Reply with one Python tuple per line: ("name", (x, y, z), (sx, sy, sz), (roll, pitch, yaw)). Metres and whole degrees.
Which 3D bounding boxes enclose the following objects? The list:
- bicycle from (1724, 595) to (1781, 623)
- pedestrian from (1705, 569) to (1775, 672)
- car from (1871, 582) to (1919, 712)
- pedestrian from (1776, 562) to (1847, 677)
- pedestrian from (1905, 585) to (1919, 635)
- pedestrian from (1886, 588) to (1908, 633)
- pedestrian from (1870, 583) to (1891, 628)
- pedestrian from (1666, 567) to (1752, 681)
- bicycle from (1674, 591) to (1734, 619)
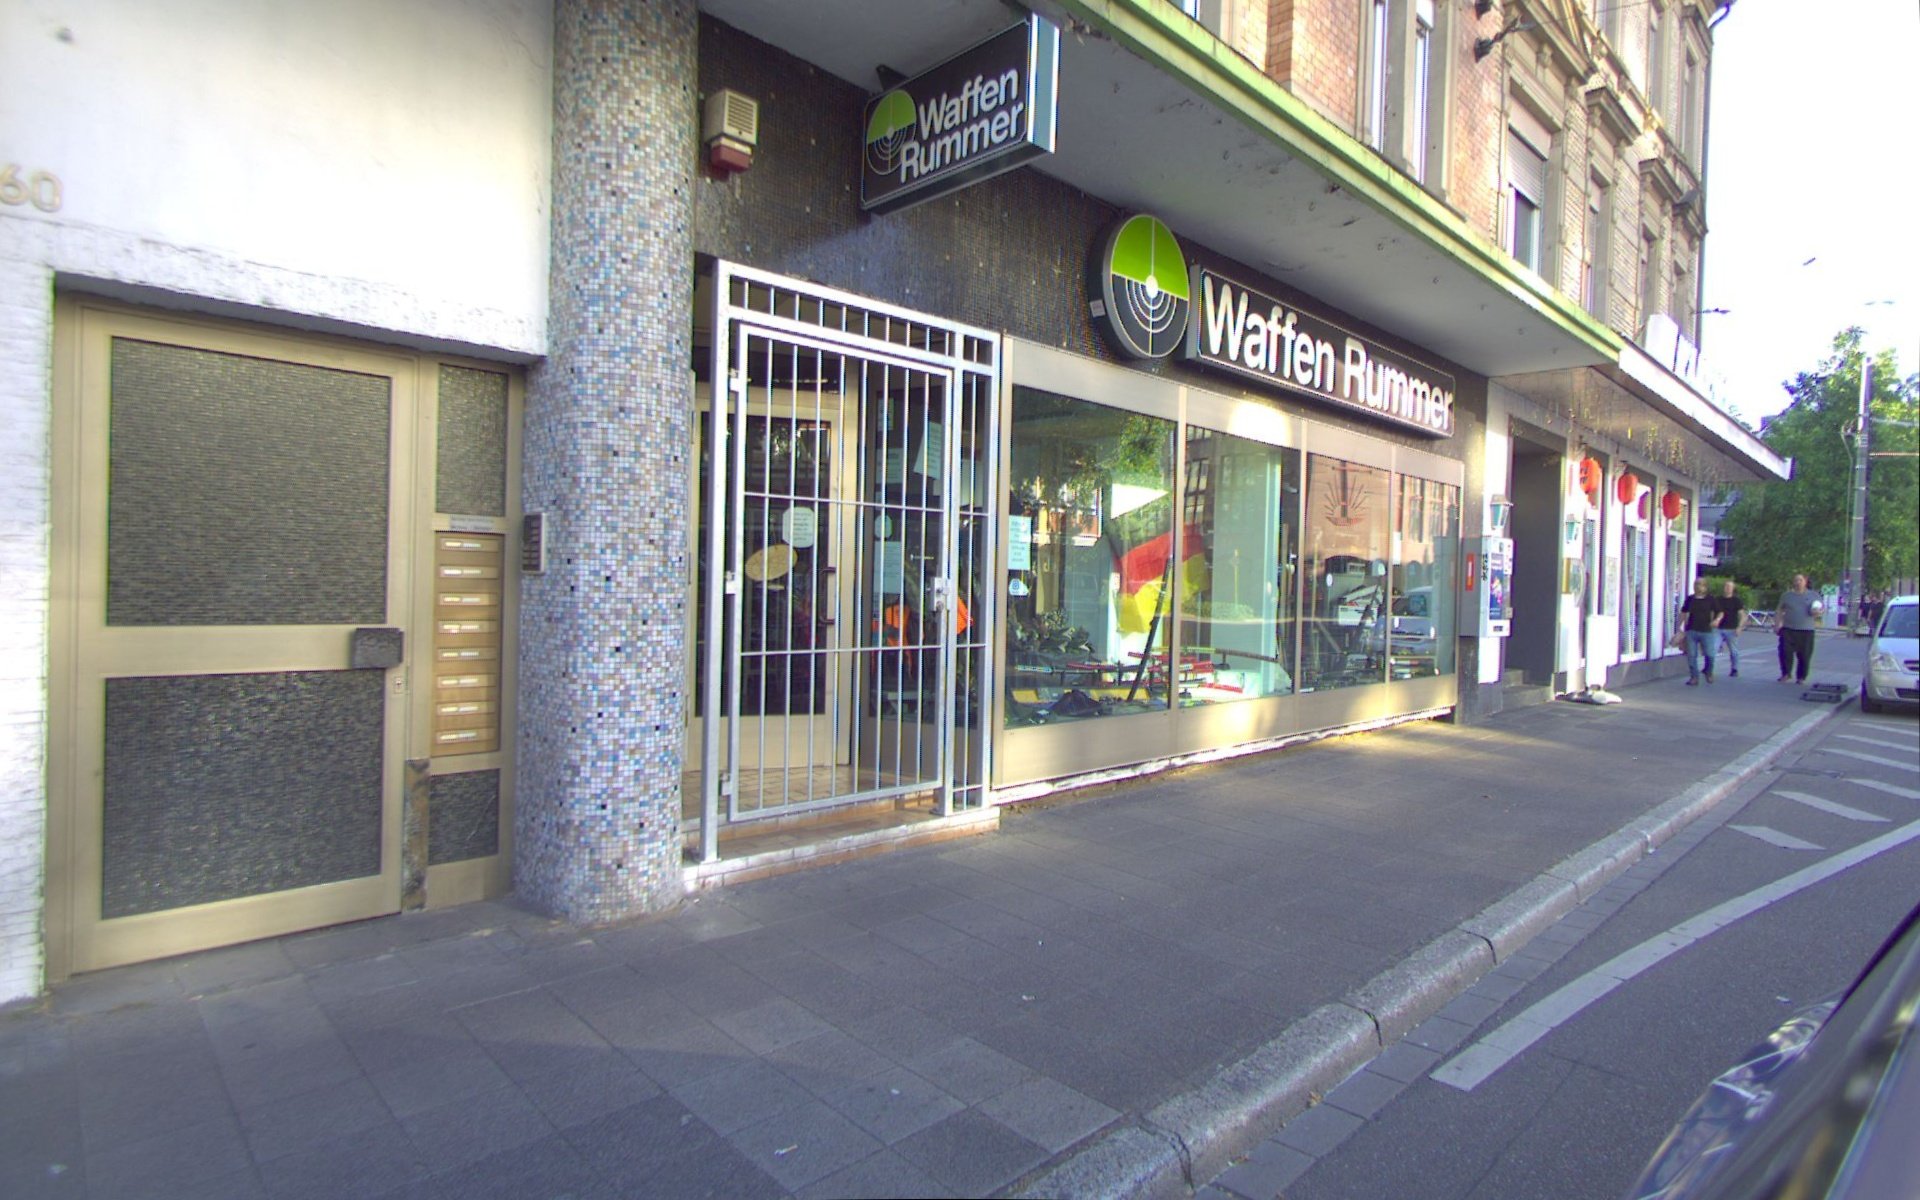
("bicycle", (34.134, 0.369, 43.625), (0.461, 1.109, 1.882), (0, 2, -45))
("pedestrian", (14.093, 0.344, 18.280), (1.016, 1.778, 0.811), (0, 2, -44))
("car", (13.756, 0.593, 13.924), (1.638, 1.635, 3.881), (1, 1, 45))
("pedestrian", (14.885, 0.313, 17.685), (1.016, 1.922, 0.794), (0, 2, -44))
("pedestrian", (34.264, 0.374, 36.068), (0.930, 1.759, 0.788), (0, 1, -44))
("pedestrian", (36.683, 0.414, 39.615), (0.430, 1.734, 0.493), (0, 3, -44))
("pedestrian", (36.645, 0.203, 40.295), (0.430, 1.734, 0.493), (0, 3, -44))
("pedestrian", (12.123, 0.360, 16.373), (0.901, 1.734, 1.016), (5, 4, 44))
("bicycle", (32.518, 0.192, 44.246), (2.012, 1.109, 0.628), (4, 2, 40))
